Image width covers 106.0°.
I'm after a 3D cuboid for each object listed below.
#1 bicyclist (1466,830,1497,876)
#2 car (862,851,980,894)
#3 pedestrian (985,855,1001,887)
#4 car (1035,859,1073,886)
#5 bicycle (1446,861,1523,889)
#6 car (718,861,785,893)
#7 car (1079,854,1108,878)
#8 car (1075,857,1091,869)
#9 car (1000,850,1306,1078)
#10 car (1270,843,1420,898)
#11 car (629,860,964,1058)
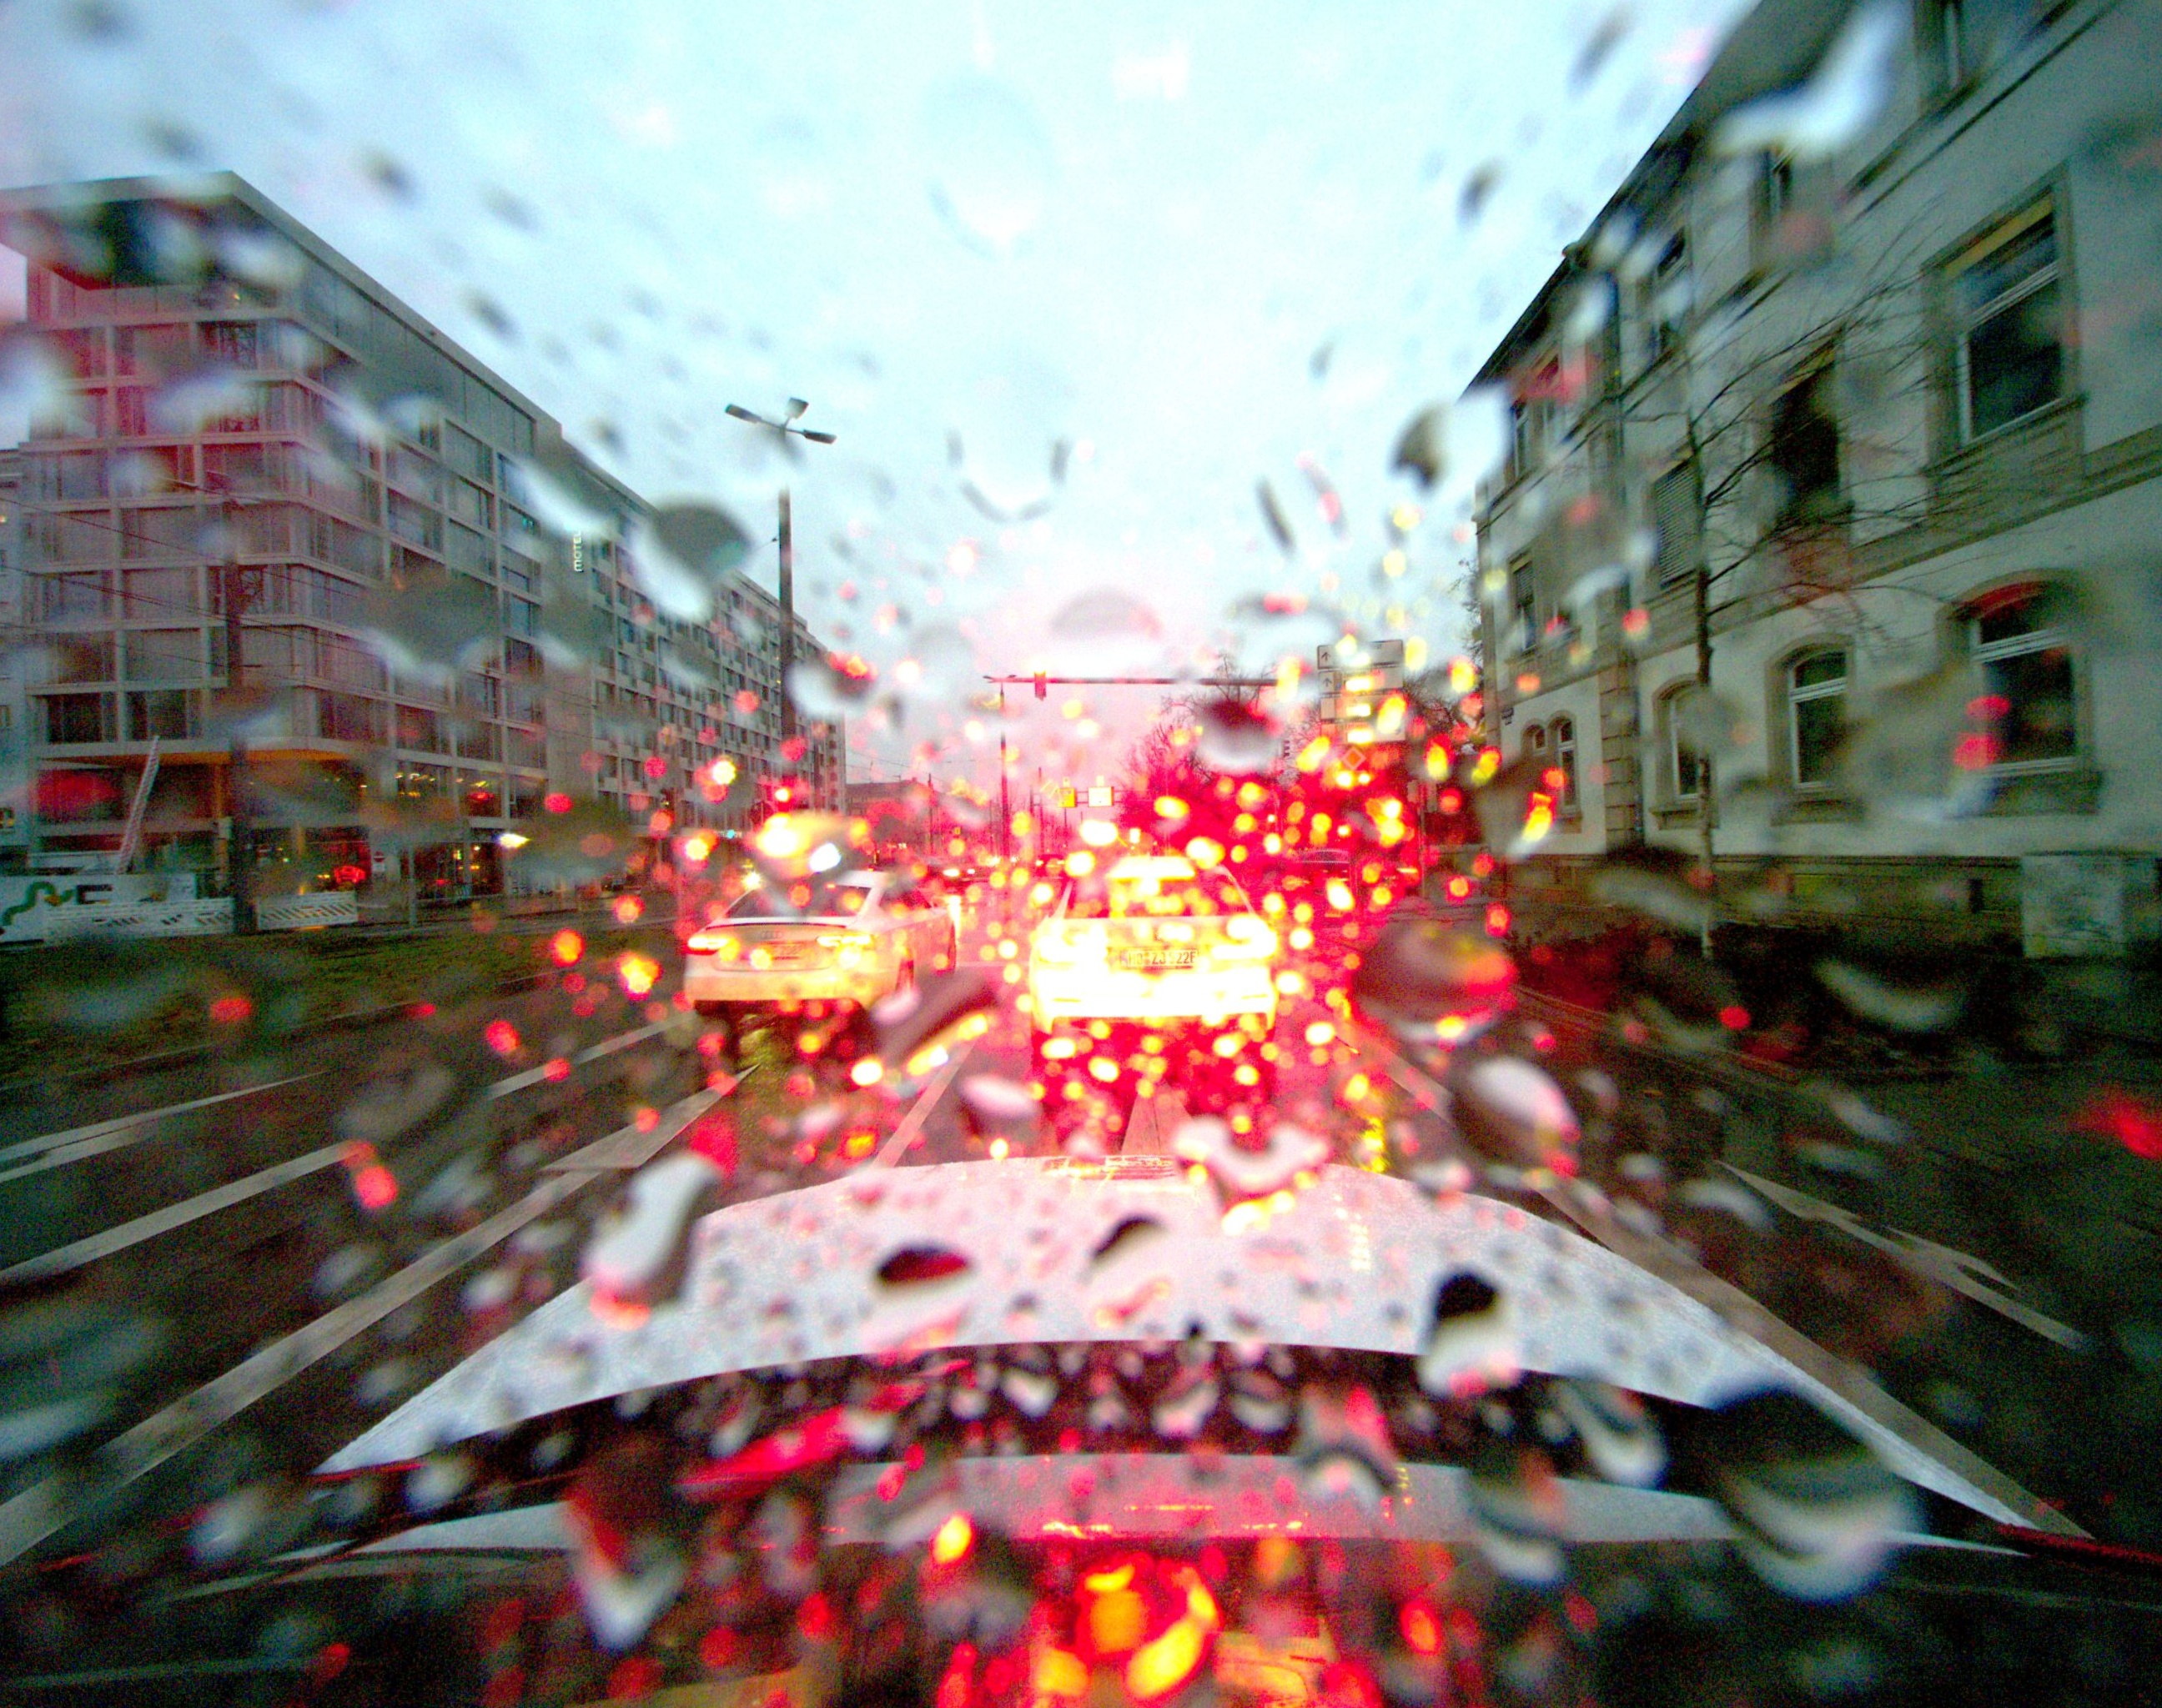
[{"bbox_3d":[15.884,-0.031,32.331,0.964,1.759,0.817,-1,-1,17],"label":"bicyclist"},{"bbox_3d":[-6.791,0.783,34.546,4.653,1.720,1.912,-2,-1,24],"label":"car"},{"bbox_3d":[-5.235,1.007,48.331,0.902,1.856,0.810,0,-1,-7],"label":"pedestrian"},{"bbox_3d":[-1.618,1.122,49.917,1.834,1.609,3.950,0,-1,4],"label":"car"},{"bbox_3d":[15.966,0.837,32.299,2.646,1.089,0.818,-1,-1,17],"label":"bicycle"},{"bbox_3d":[-16.765,1.137,41.319,1.772,1.530,4.274,0,-1,-42],"label":"car"},{"bbox_3d":[0.856,0.843,58.188,1.838,1.609,3.941,0,-1,-2],"label":"car"},{"bbox_3d":[0.207,1.101,103.431,1.987,1.456,4.367,-1,0,0],"label":"car"},{"bbox_3d":[0.476,0.713,7.566,1.987,1.456,4.367,-1,0,0],"label":"car"},{"bbox_3d":[8.942,0.586,27.611,4.655,1.720,1.878,-1,-1,21],"label":"car"},{"bbox_3d":[-2.562,0.849,8.631,1.987,1.456,4.367,-1,0,0],"label":"car"}]
